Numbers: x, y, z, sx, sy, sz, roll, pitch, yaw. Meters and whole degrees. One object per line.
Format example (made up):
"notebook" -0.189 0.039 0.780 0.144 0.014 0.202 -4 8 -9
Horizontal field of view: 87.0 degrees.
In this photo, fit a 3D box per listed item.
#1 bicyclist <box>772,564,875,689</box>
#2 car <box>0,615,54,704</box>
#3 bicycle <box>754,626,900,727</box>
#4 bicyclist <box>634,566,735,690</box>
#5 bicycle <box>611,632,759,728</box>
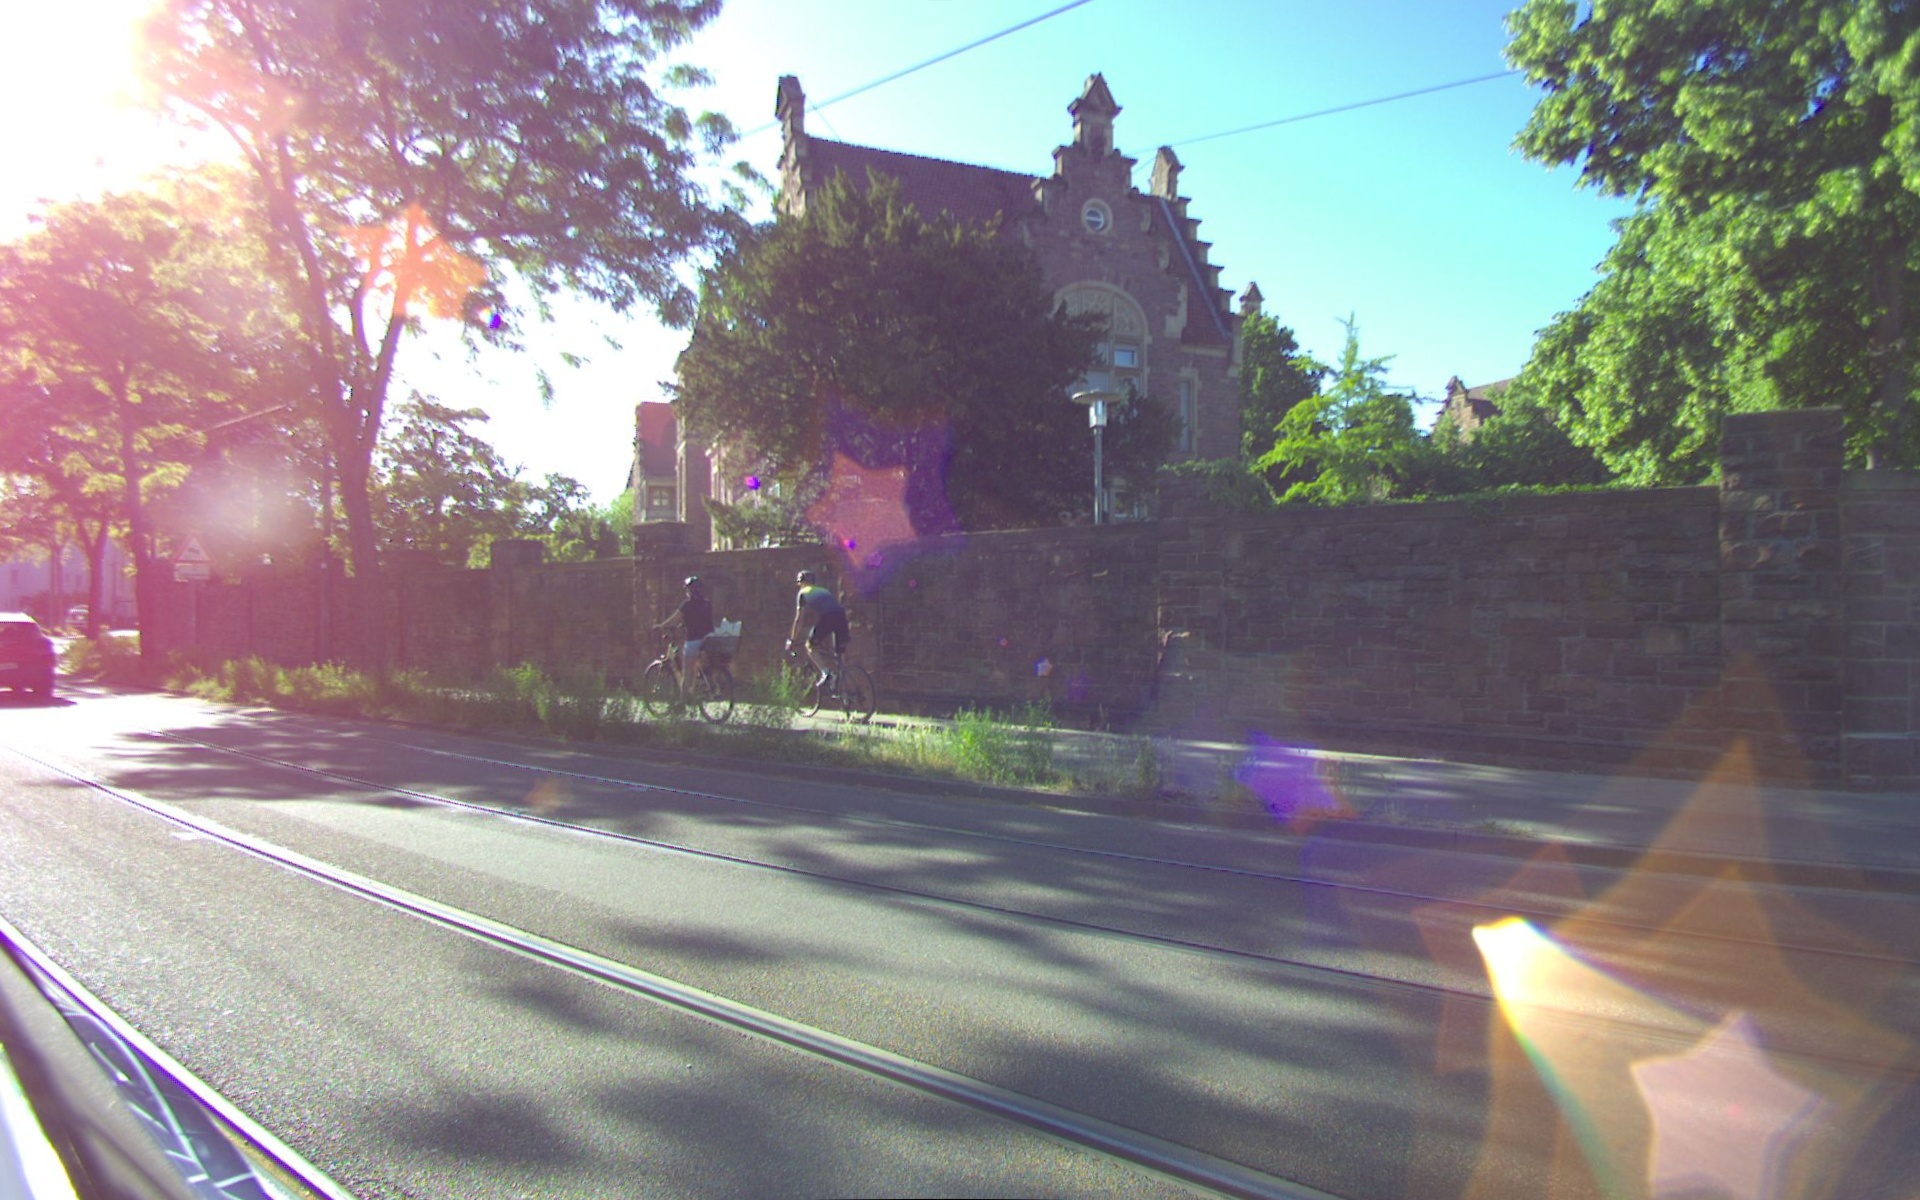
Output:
"bicyclist" -1.687 0.320 12.482 1.151 1.470 0.646 -1 -1 39
"car" -19.205 1.134 19.856 4.360 1.619 1.797 -1 -1 44
"bicycle" -1.664 0.898 12.463 1.853 1.097 0.677 1 0 39
"bicyclist" -3.448 0.343 12.658 1.150 1.470 0.647 -1 -1 37
"bicycle" -3.470 0.961 12.665 2.060 1.097 0.678 -1 -1 37
